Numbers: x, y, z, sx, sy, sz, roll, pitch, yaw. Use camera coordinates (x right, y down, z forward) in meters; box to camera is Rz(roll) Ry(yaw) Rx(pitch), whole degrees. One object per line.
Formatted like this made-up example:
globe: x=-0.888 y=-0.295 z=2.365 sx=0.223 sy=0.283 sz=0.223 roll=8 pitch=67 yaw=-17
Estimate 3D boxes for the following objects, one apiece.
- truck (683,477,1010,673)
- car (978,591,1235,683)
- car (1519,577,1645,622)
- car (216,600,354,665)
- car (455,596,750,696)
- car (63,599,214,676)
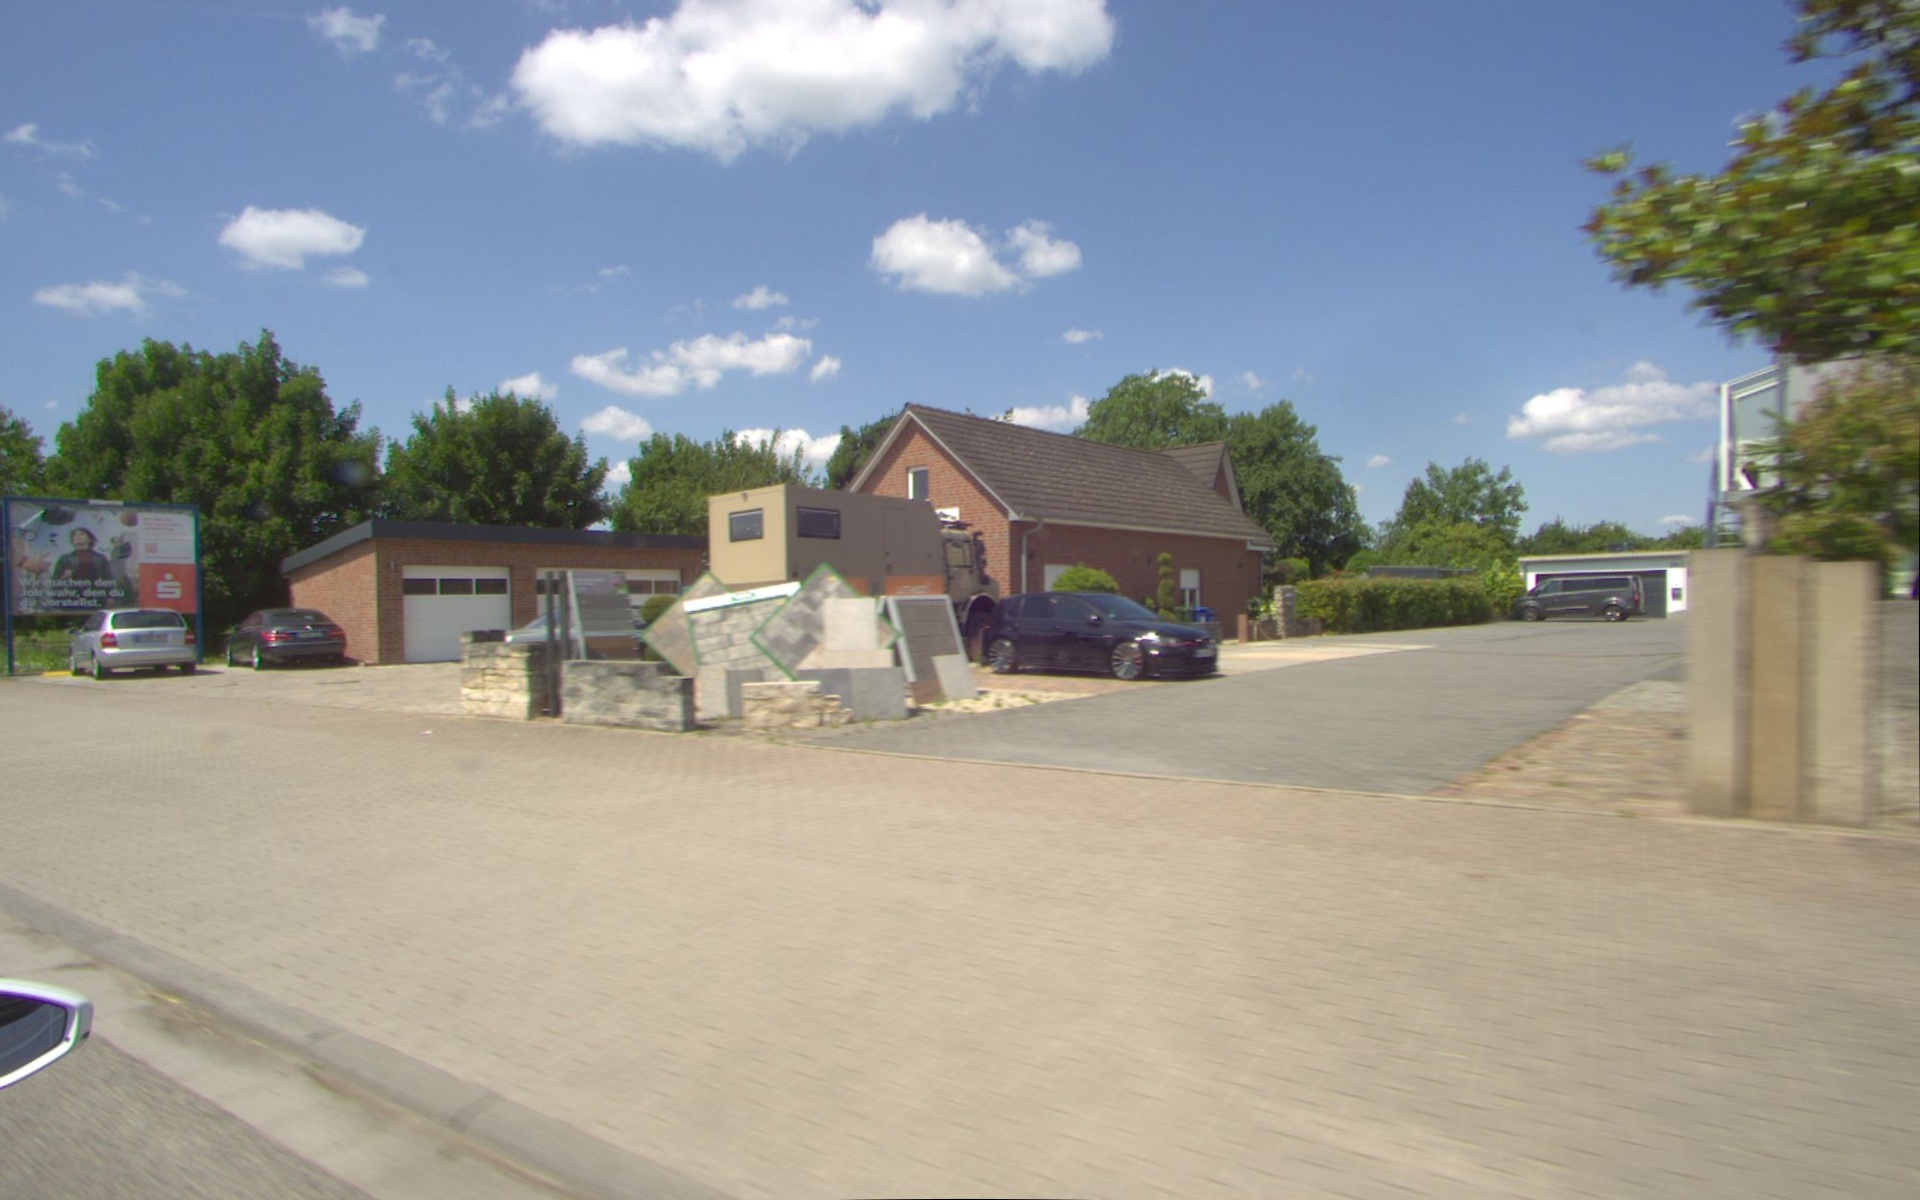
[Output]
truck: x=-2.146 y=-0.457 z=20.988 sx=3.071 sy=3.433 sz=6.429 roll=0 pitch=1 yaw=41
car: x=2.339 y=0.549 z=16.620 sx=3.960 sy=1.341 sz=1.771 roll=-1 pitch=0 yaw=44
car: x=28.124 y=-0.017 z=45.397 sx=4.647 sy=1.926 sz=1.773 roll=-1 pitch=1 yaw=42
car: x=-16.293 y=0.741 z=24.101 sx=3.953 sy=1.395 sz=1.737 roll=-1 pitch=1 yaw=41
car: x=-5.835 y=0.668 z=16.746 sx=1.955 sy=1.439 sz=4.245 roll=0 pitch=0 yaw=42
car: x=-18.412 y=0.788 z=22.402 sx=3.953 sy=1.500 sz=1.896 roll=-1 pitch=2 yaw=41
